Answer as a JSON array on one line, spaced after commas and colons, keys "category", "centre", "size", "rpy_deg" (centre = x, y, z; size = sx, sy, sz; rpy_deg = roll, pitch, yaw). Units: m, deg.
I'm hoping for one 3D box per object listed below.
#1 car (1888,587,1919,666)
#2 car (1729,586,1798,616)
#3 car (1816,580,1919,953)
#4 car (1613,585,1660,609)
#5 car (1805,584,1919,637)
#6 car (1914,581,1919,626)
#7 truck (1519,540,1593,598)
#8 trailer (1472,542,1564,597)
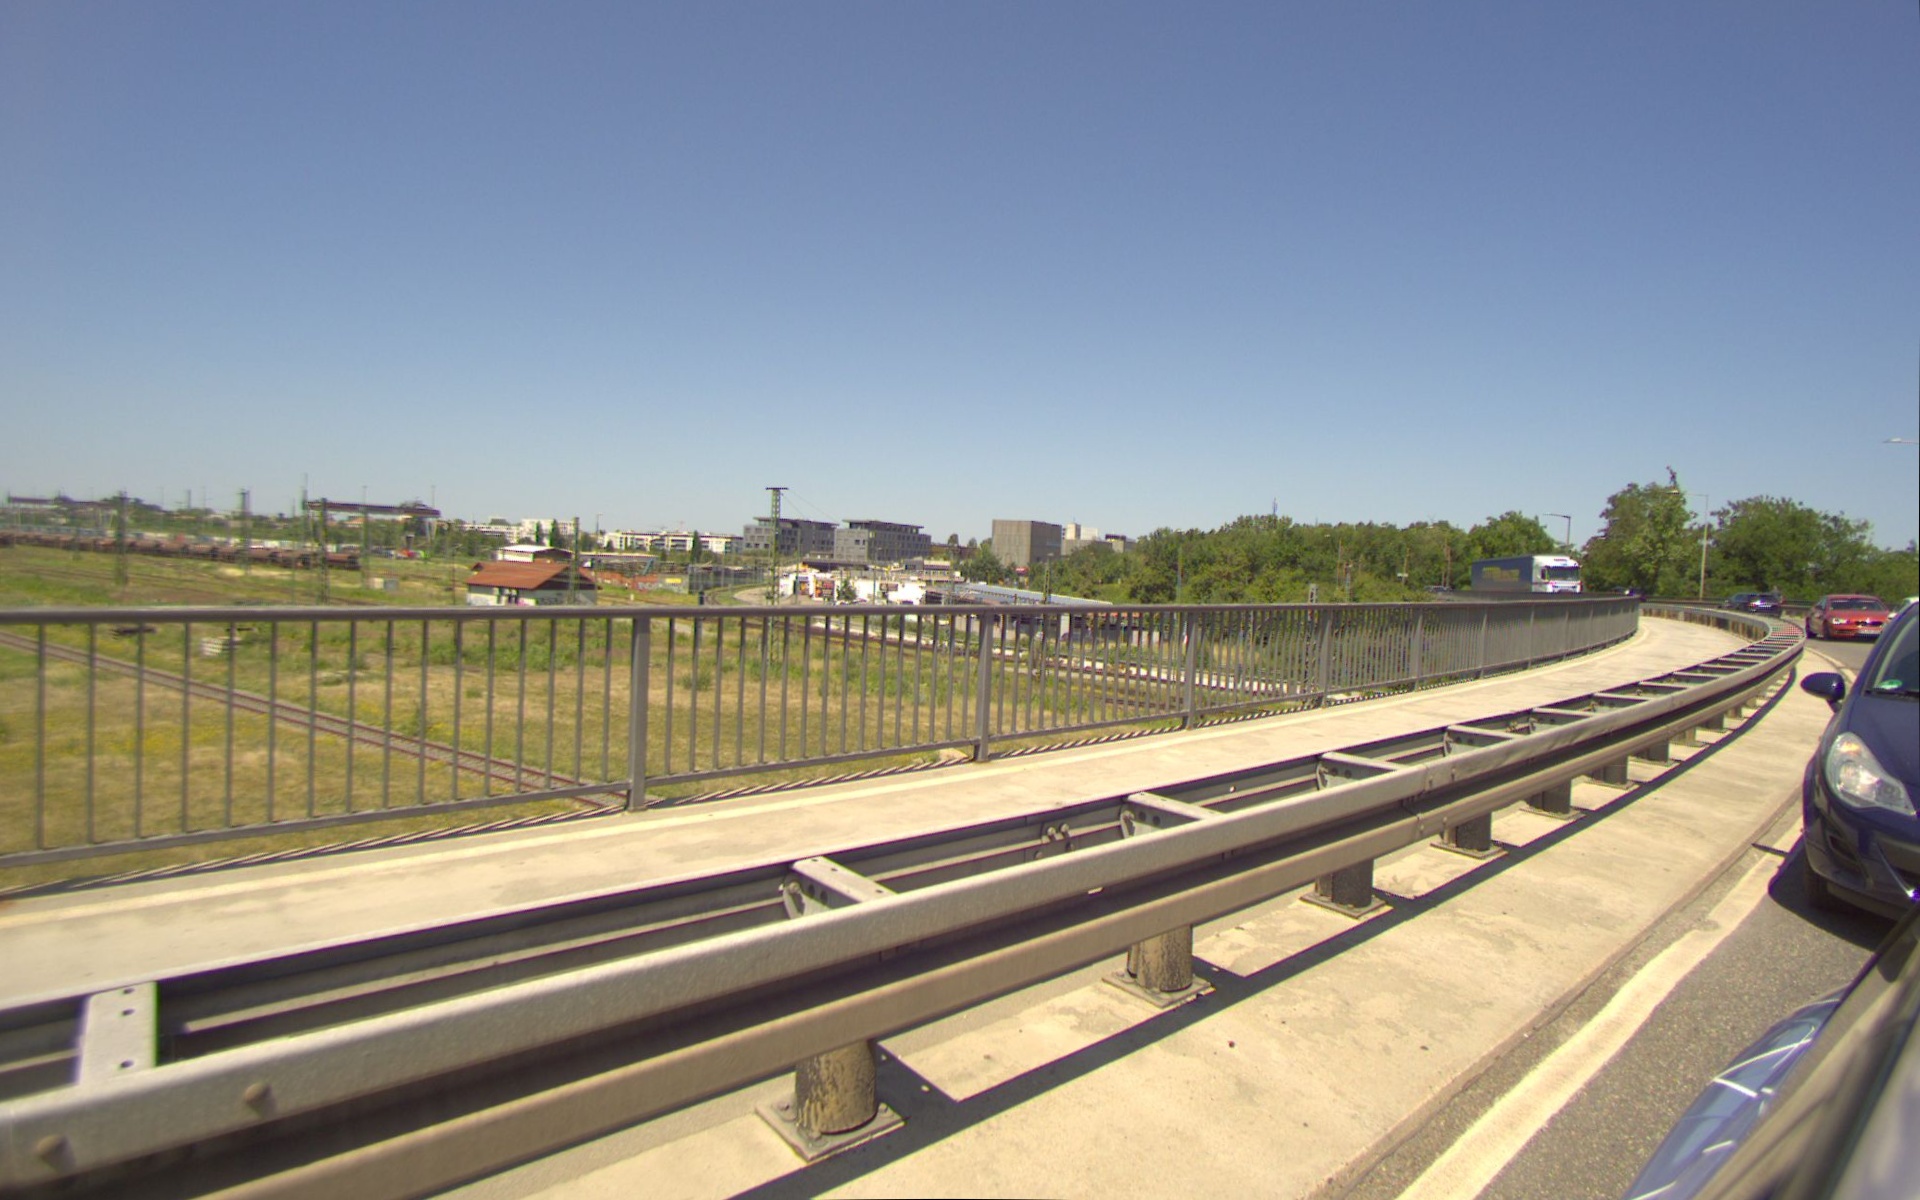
[{"category": "car", "centre": [19.955, 0.475, 20.263], "size": [1.787, 1.473, 4.458], "rpy_deg": [1, 1, 40]}, {"category": "car", "centre": [42.210, 0.004, 53.251], "size": [1.759, 1.456, 4.356], "rpy_deg": [1, 2, 24]}, {"category": "car", "centre": [5.493, 0.641, 4.990], "size": [1.641, 1.457, 3.935], "rpy_deg": [1, 1, 45]}, {"category": "car", "centre": [48.995, -0.227, 73.368], "size": [1.755, 1.646, 4.229], "rpy_deg": [1, 2, 18]}, {"category": "car", "centre": [27.697, 0.258, 31.175], "size": [1.781, 1.473, 4.475], "rpy_deg": [2, 2, 30]}, {"category": "car", "centre": [34.184, 0.181, 34.266], "size": [1.727, 1.599, 4.134], "rpy_deg": [1, 2, 29]}, {"category": "truck", "centre": [46.506, -2.408, 79.209], "size": [2.653, 4.281, 6.822], "rpy_deg": [-1, 1, 9]}, {"category": "trailer", "centre": [47.679, -2.572, 86.976], "size": [2.657, 4.287, 12.685], "rpy_deg": [0, 1, 8]}]
